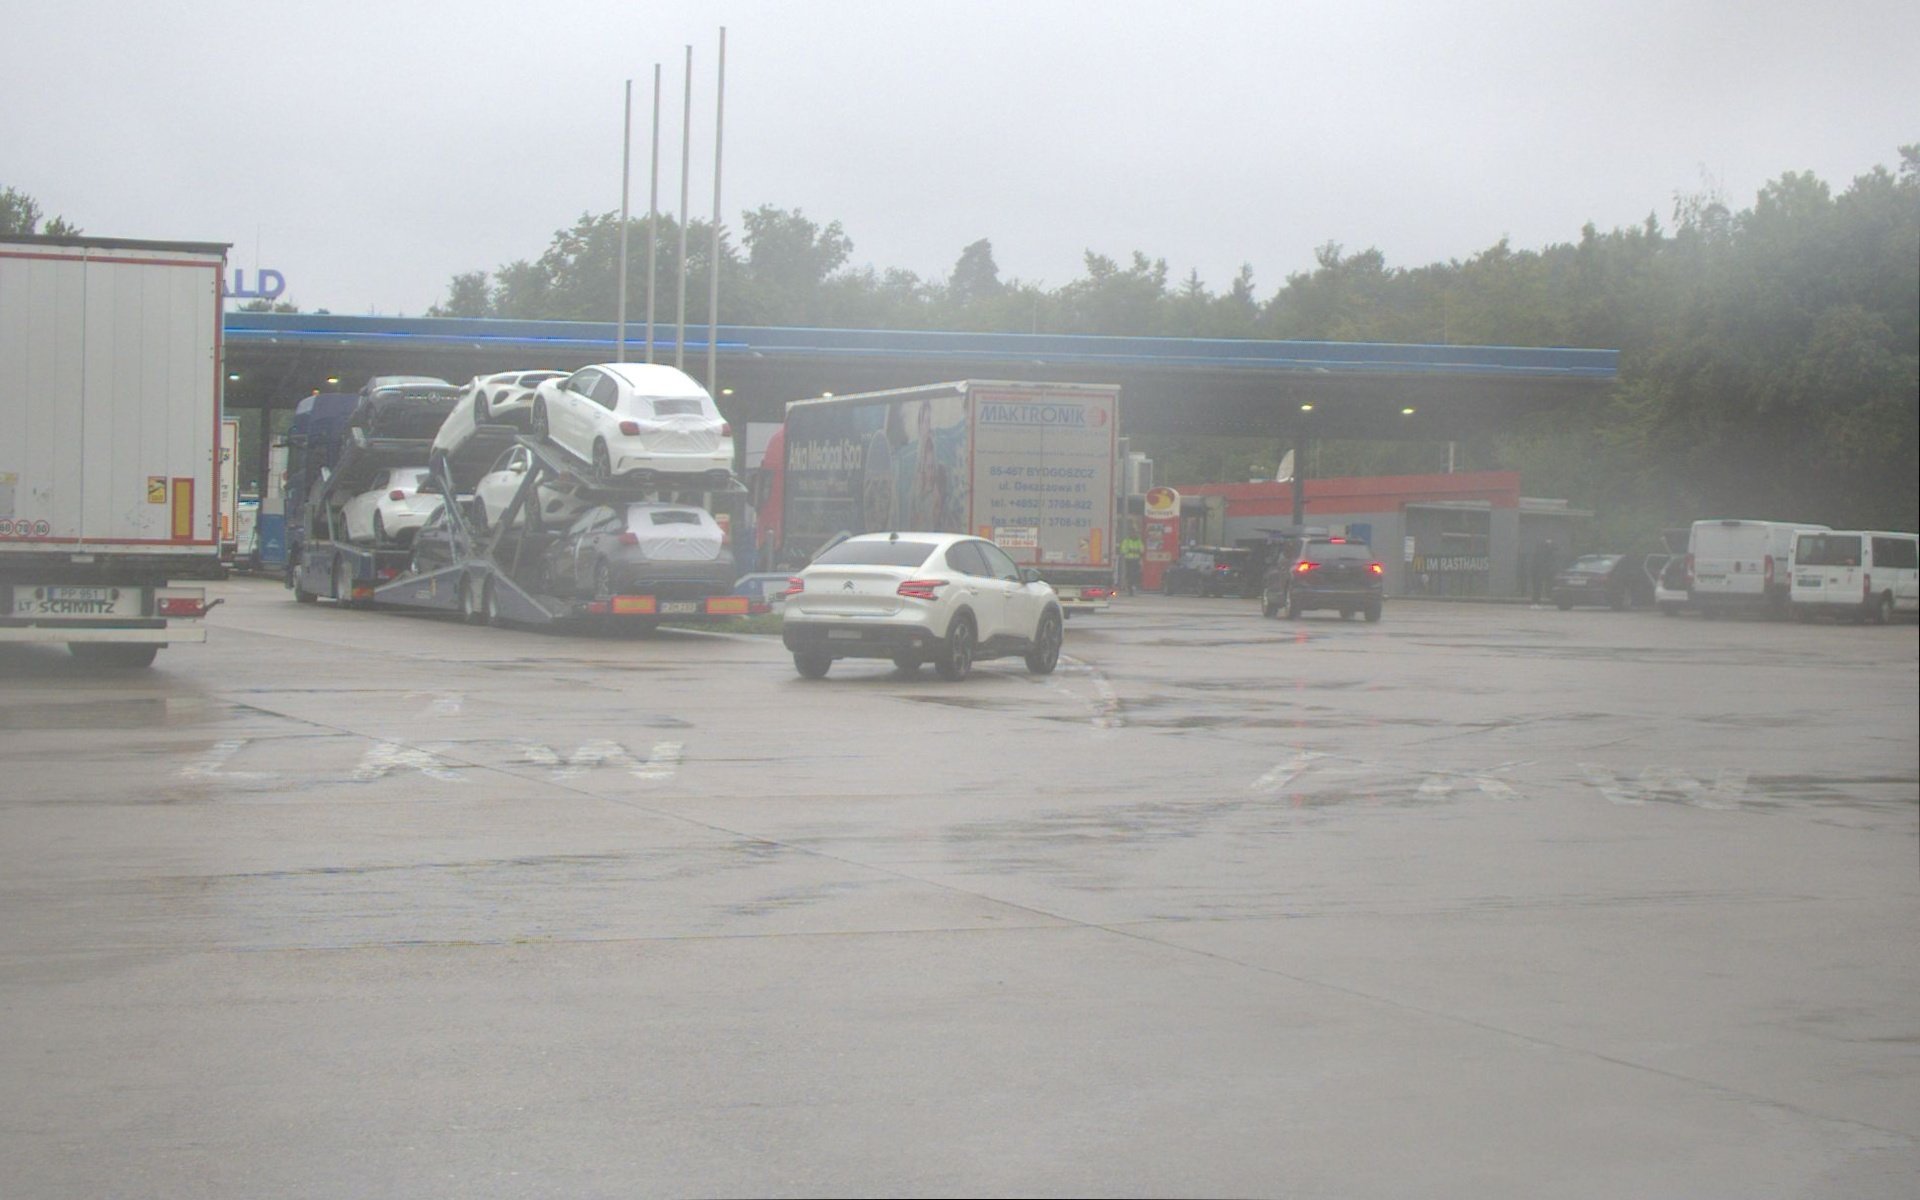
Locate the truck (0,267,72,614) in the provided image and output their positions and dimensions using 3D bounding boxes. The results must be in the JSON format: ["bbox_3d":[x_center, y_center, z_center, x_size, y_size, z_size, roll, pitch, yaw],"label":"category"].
[{"bbox_3d":[-12.491,-1.895,41.348,2.370,3.860,7.014,0,2,-24],"label":"truck"}]

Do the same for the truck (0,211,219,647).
[{"bbox_3d":[-10.356,-1.706,36.466,2.370,3.860,12.458,0,2,-24],"label":"truck"}]

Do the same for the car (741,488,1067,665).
[{"bbox_3d":[-0.510,-0.225,35.878,1.996,1.673,3.996,3,1,21],"label":"car"}]

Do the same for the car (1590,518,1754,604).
[{"bbox_3d":[16.628,-0.907,80.161,2.118,1.930,4.183,2,2,37],"label":"car"}]

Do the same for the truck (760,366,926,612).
[{"bbox_3d":[-2.322,-2.106,66.542,1.987,4.534,4.797,2,1,-16],"label":"truck"}]

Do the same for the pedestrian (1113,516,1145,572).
[{"bbox_3d":[4.794,-1.580,97.578,0.719,1.516,0.742,3,-2,10],"label":"pedestrian"}]

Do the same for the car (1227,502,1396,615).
[{"bbox_3d":[6.885,-0.785,67.751,1.993,2.007,4.001,4,-2,-13],"label":"car"}]

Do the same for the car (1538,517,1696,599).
[{"bbox_3d":[16.120,-1.024,84.262,2.118,1.930,4.183,2,2,37],"label":"car"}]

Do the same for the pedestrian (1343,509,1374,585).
[{"bbox_3d":[10.868,-1.436,93.720,0.669,2.007,0.742,3,-2,10],"label":"pedestrian"}]

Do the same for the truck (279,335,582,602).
[{"bbox_3d":[-9.310,-2.256,59.527,3.233,4.174,8.446,2,1,-22],"label":"truck"}]

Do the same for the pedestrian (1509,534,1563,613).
[{"bbox_3d":[14.223,-0.665,84.875,0.955,1.913,1.087,2,1,29],"label":"pedestrian"}]

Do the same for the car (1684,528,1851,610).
[{"bbox_3d":[17.962,-0.695,76.382,2.118,1.722,3.991,2,2,37],"label":"car"}]

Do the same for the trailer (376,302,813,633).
[{"bbox_3d":[-5.640,-1.900,50.221,3.215,4.174,11.533,2,1,-22],"label":"trailer"}]

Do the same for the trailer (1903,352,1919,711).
[{"bbox_3d":[11.442,-0.660,35.527,2.185,3.380,7.555,2,1,23],"label":"trailer"}]

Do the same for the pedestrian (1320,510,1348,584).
[{"bbox_3d":[10.324,-1.460,94.952,0.586,2.007,0.637,4,-2,1],"label":"pedestrian"}]

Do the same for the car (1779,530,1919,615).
[{"bbox_3d":[19.462,-0.598,73.961,2.118,1.722,3.991,2,2,37],"label":"car"}]

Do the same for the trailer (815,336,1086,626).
[{"bbox_3d":[-0.340,-1.978,59.495,1.993,4.543,9.812,2,1,-16],"label":"trailer"}]
